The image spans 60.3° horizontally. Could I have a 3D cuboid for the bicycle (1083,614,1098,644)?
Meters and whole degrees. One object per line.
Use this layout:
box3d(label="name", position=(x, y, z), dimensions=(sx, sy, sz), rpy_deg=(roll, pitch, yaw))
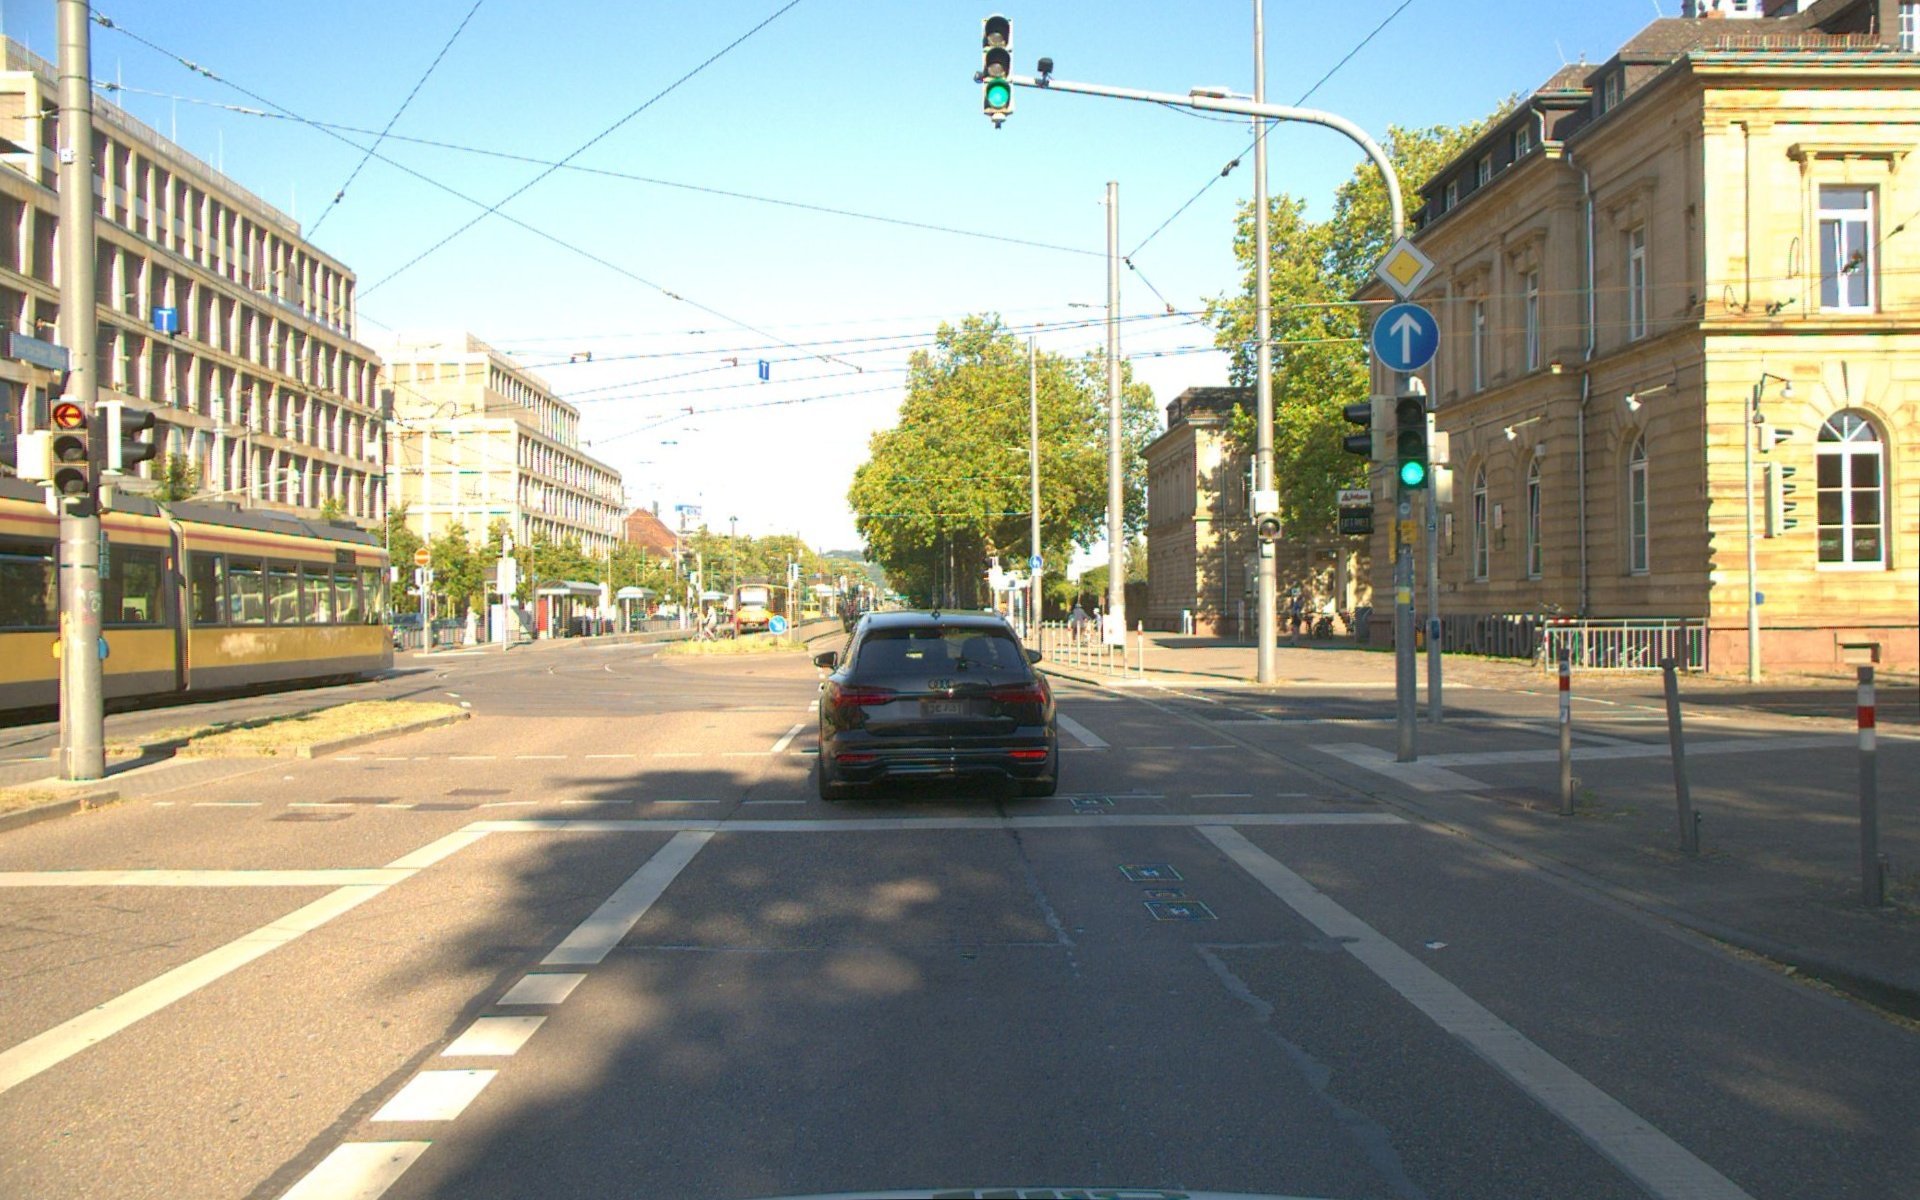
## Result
box3d(label="bicycle", position=(5.307, 1.173, 67.201), dimensions=(0.426, 1.165, 1.339), rpy_deg=(-1, 0, -4))

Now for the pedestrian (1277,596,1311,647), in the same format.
box3d(label="pedestrian", position=(12.508, 0.792, 61.979), dimensions=(0.962, 1.898, 0.824), rpy_deg=(-1, 0, -12))

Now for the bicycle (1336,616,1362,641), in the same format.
box3d(label="bicycle", position=(16.775, 1.218, 71.363), dimensions=(0.515, 1.065, 2.230), rpy_deg=(-1, 0, -1))

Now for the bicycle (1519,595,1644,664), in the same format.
box3d(label="bicycle", position=(12.011, 0.560, 31.986), dimensions=(2.095, 1.230, 0.765), rpy_deg=(-2, 0, -4))

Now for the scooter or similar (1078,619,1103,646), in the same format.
box3d(label="scooter or similar", position=(5.094, 1.267, 64.527), dimensions=(0.920, 0.983, 0.361), rpy_deg=(-2, -1, -4))

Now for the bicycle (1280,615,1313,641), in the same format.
box3d(label="bicycle", position=(14.389, 1.180, 70.757), dimensions=(0.516, 1.065, 2.353), rpy_deg=(-1, 0, -10))

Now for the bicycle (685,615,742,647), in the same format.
box3d(label="bicycle", position=(-9.139, 1.153, 61.343), dimensions=(1.981, 1.128, 0.758), rpy_deg=(-1, 0, -26))

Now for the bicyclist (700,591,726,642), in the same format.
box3d(label="bicyclist", position=(-9.168, 0.611, 61.347), dimensions=(0.747, 1.850, 0.758), rpy_deg=(-1, 0, -26))

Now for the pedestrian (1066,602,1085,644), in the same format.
box3d(label="pedestrian", position=(4.693, 0.925, 67.154), dimensions=(0.668, 1.690, 0.758), rpy_deg=(-1, 0, -4))

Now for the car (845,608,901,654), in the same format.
box3d(label="car", position=(-3.074, 1.062, 59.107), dimensions=(1.864, 1.512, 4.143), rpy_deg=(-1, 0, -2))

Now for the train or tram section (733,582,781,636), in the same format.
box3d(label="train or tram section", position=(-13.887, 0.627, 113.809), dimensions=(2.557, 3.511, 11.123), rpy_deg=(-1, 0, -4))

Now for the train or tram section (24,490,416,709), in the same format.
box3d(label="train or tram section", position=(-14.149, 0.016, 33.235), dimensions=(2.756, 3.550, 12.148), rpy_deg=(-1, 0, -2))

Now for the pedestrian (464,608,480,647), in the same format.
box3d(label="pedestrian", position=(-21.624, 1.220, 73.271), dimensions=(0.610, 1.693, 0.510), rpy_deg=(-1, -1, -27))

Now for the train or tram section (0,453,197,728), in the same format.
box3d(label="train or tram section", position=(-13.737, -0.102, 20.565), dimensions=(2.756, 3.550, 13.197), rpy_deg=(-1, 0, -2))

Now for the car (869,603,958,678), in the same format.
box3d(label="car", position=(-1.043, 0.866, 37.091), dimensions=(1.864, 1.512, 4.143), rpy_deg=(-1, 0, -2))

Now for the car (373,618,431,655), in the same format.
box3d(label="car", position=(-29.359, 1.906, 87.070), dimensions=(1.805, 1.844, 4.110), rpy_deg=(-1, 0, -3))

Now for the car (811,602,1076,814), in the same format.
box3d(label="car", position=(-0.169, 0.772, 13.859), dimensions=(1.864, 1.446, 4.143), rpy_deg=(-1, 0, -2))

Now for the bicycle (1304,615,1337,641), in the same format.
box3d(label="bicycle", position=(15.433, 1.191, 70.778), dimensions=(0.516, 1.065, 2.353), rpy_deg=(-1, 0, -10))

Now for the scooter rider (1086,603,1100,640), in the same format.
box3d(label="scooter rider", position=(5.189, 0.851, 64.543), dimensions=(0.475, 1.410, 0.377), rpy_deg=(-2, -2, -4))

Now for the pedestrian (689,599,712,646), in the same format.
box3d(label="pedestrian", position=(-9.864, 0.846, 62.893), dimensions=(0.730, 1.772, 0.658), rpy_deg=(-1, -1, -24))
